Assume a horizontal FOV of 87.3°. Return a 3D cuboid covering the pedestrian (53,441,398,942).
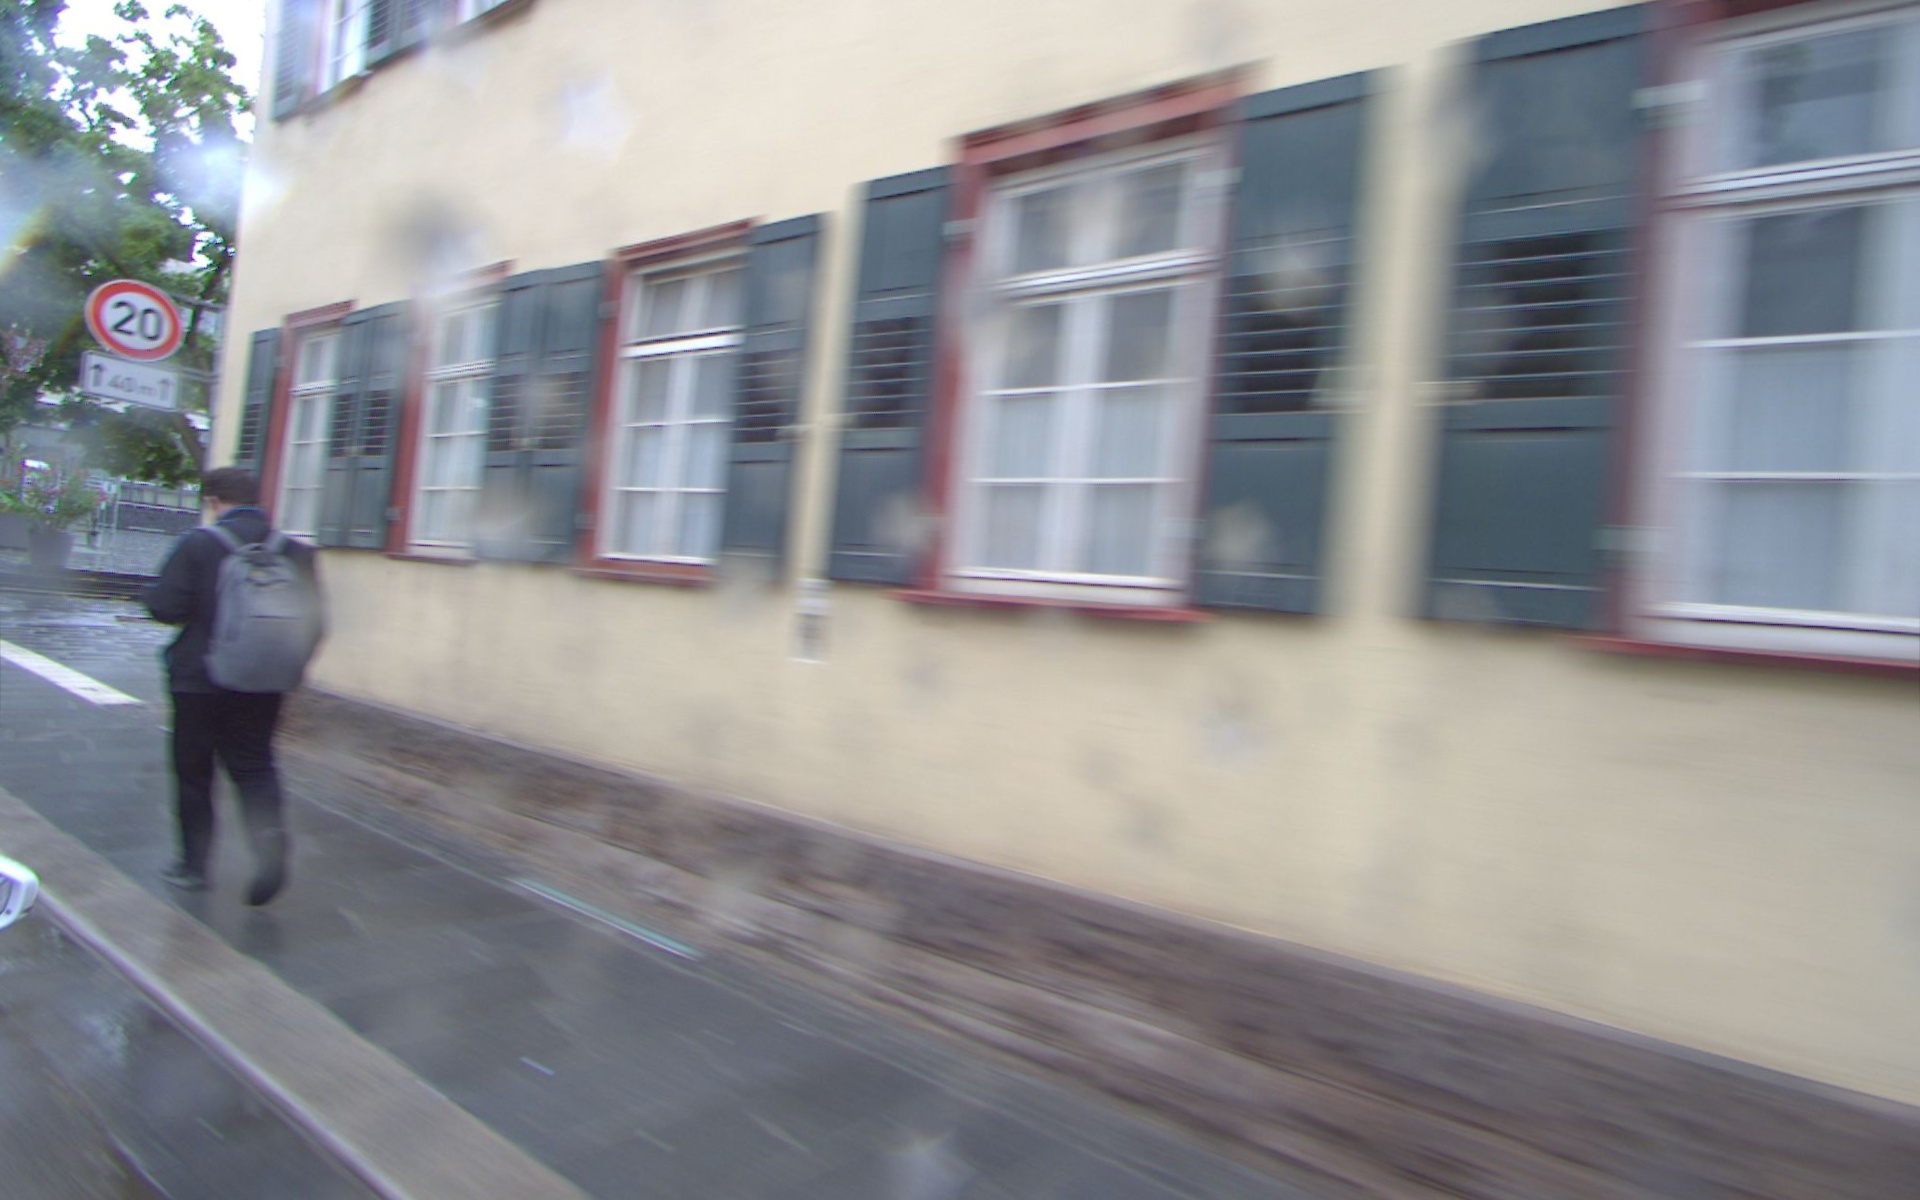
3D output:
[{"bbox_3d":[-2.897,0.306,3.977,0.854,1.714,0.714,7,1,33],"label":"pedestrian"}]
